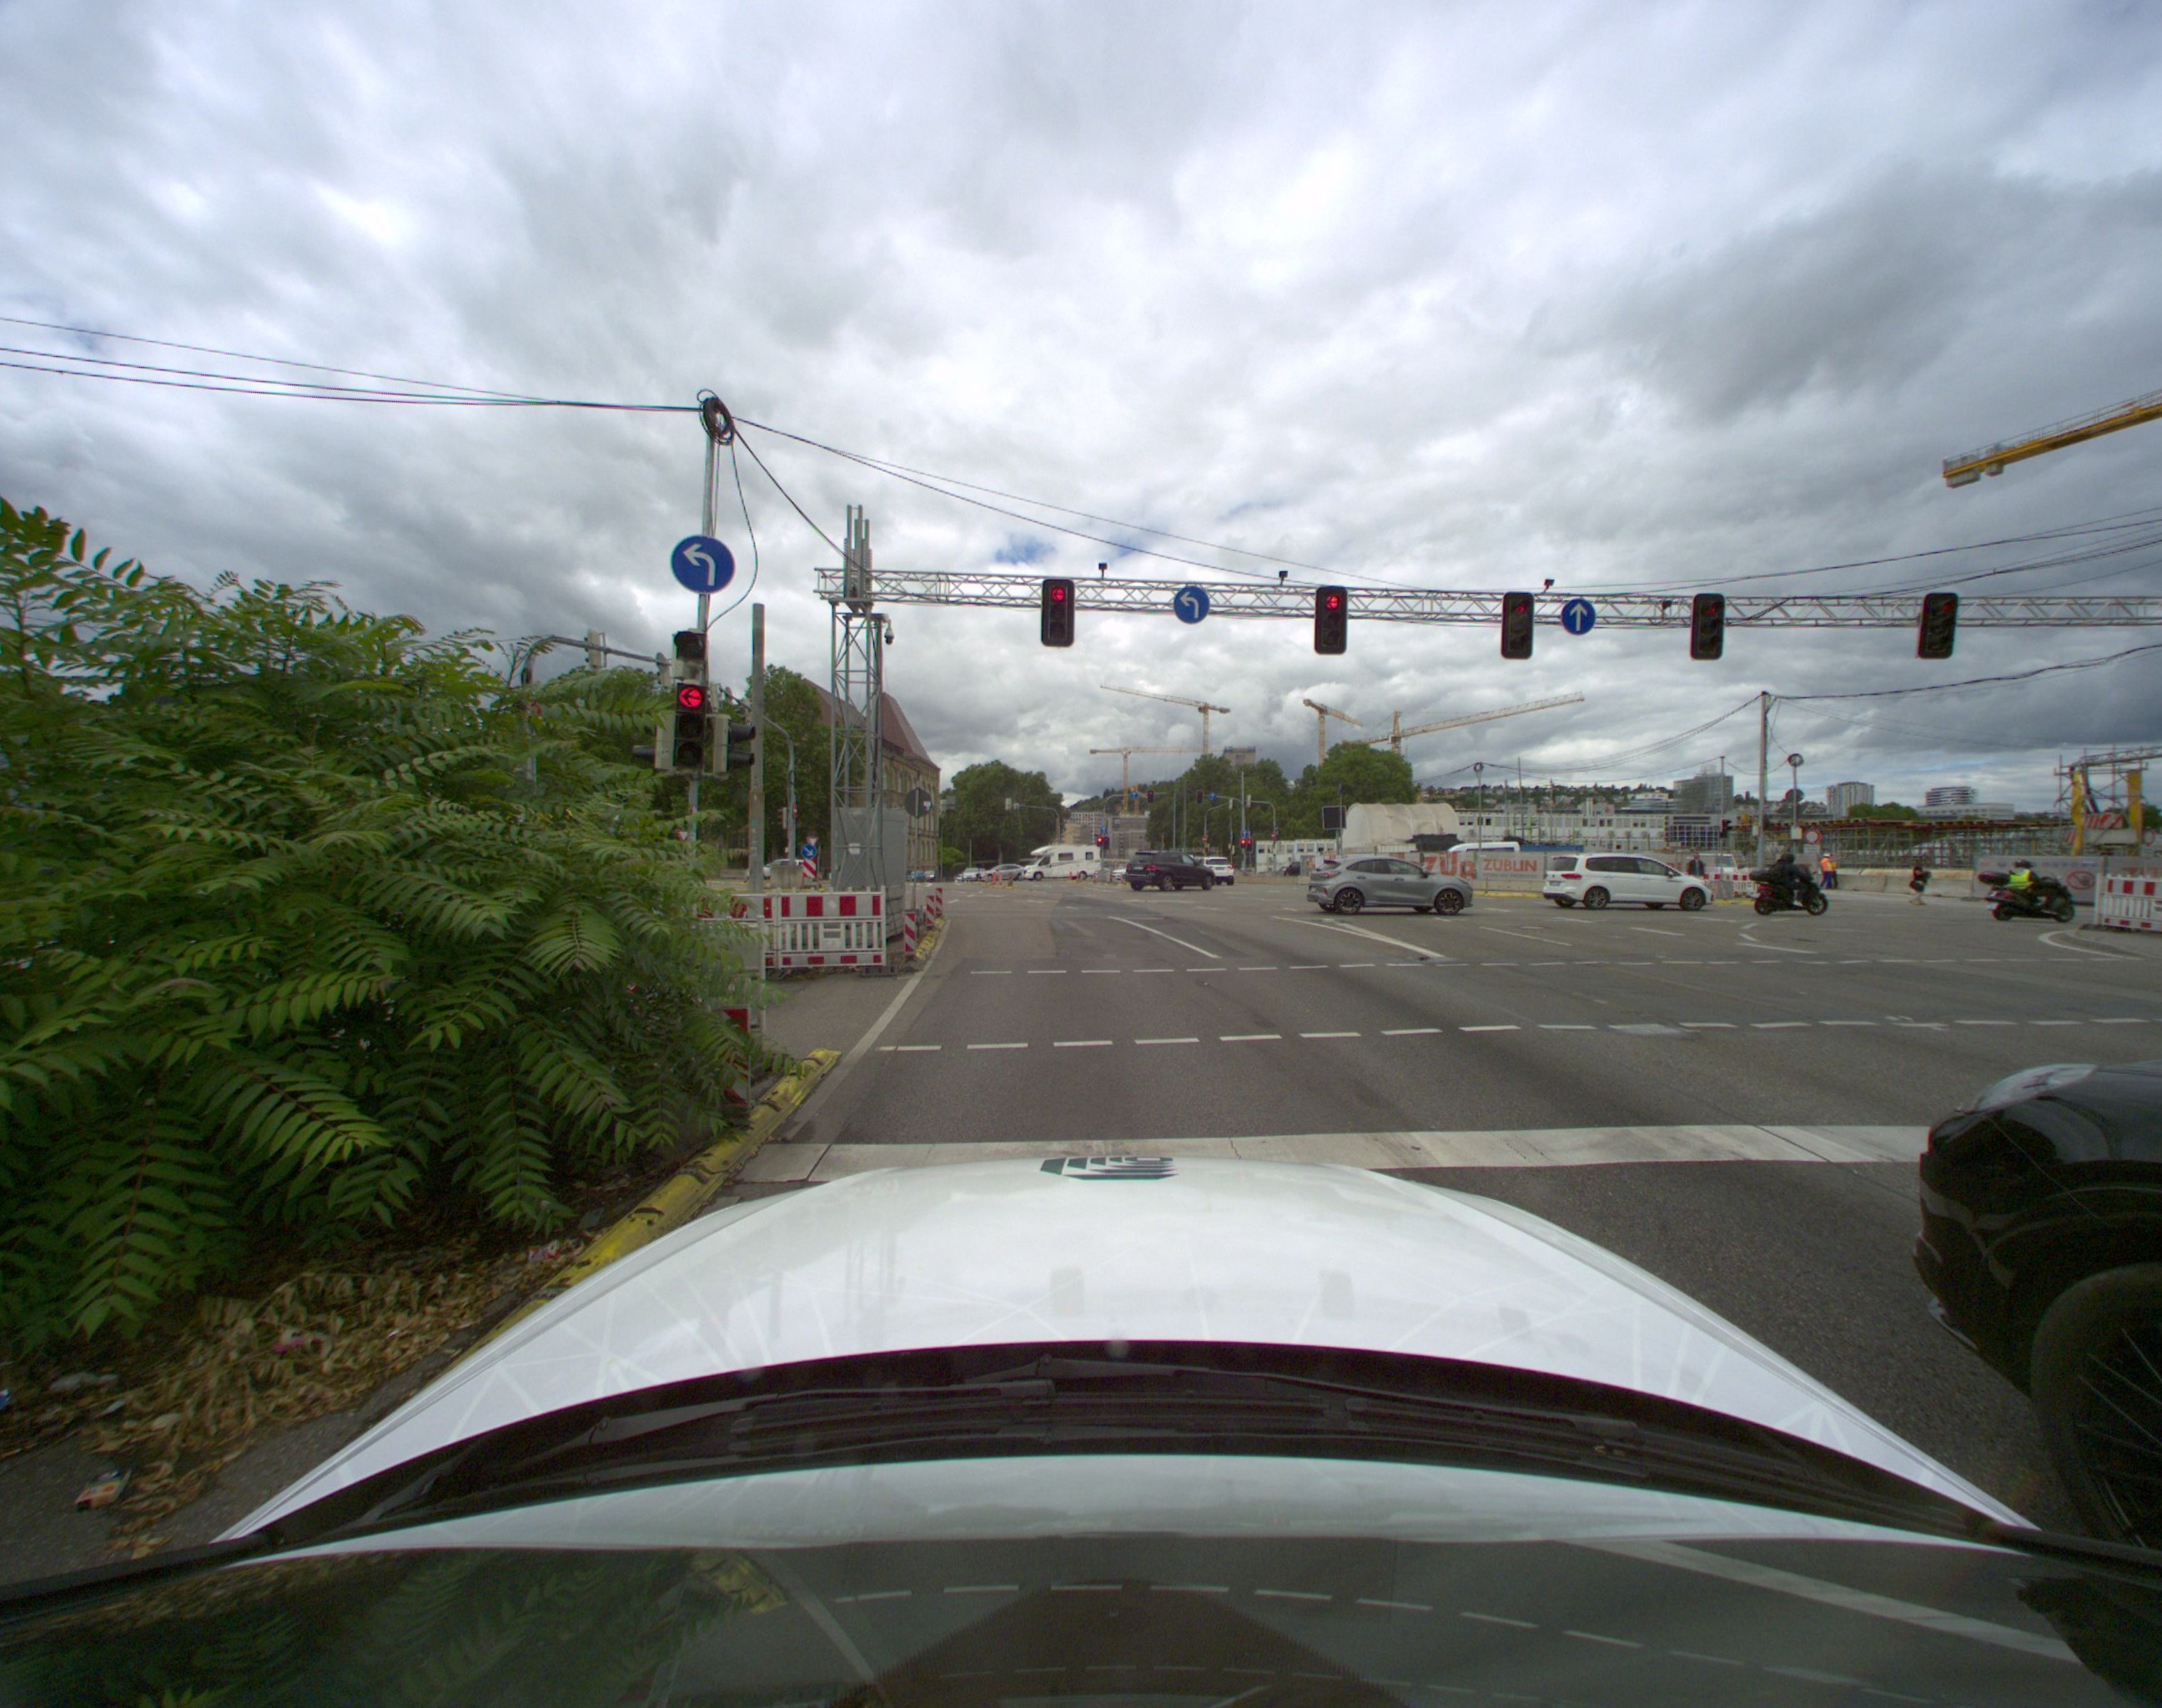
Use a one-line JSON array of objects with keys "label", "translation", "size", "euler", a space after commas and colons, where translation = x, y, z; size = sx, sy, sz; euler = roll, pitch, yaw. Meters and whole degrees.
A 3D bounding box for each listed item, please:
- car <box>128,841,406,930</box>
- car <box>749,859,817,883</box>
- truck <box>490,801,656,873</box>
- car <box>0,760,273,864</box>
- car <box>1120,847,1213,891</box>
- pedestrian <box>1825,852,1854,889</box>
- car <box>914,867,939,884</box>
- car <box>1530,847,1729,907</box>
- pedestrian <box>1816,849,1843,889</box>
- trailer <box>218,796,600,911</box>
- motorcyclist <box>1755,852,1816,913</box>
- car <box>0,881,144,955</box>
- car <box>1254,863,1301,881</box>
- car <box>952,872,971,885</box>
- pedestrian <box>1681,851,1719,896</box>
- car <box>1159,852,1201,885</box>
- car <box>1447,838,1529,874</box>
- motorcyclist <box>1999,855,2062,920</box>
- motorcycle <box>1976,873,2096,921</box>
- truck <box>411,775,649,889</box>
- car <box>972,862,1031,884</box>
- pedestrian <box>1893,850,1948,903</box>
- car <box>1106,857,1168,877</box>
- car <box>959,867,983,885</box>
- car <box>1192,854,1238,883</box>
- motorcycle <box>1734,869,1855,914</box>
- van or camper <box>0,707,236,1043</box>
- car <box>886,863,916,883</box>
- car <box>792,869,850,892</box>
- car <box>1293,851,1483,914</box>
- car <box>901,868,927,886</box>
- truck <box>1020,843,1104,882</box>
[{"label": "car", "translation": [-16.824, 0.634, 16.985], "size": [3.969, 1.740, 1.912], "euler": [0, -1, 3]}, {"label": "car", "translation": [-21.831, 1.220, 59.635], "size": [4.602, 1.724, 1.895], "euler": [0, -1, -22]}, {"label": "truck", "translation": [-36.561, -1.204, 59.044], "size": [9.719, 4.961, 3.101], "euler": [0, -1, -11]}, {"label": "car", "translation": [-17.379, -0.693, 14.755], "size": [3.964, 1.706, 1.838], "euler": [0, -1, 8]}, {"label": "car", "translation": [3.881, 0.653, 36.411], "size": [1.975, 1.834, 4.283], "euler": [-1, -1, 42]}, {"label": "pedestrian", "translation": [39.176, 0.839, 42.058], "size": [0.677, 1.916, 0.865], "euler": [0, -1, -4]}, {"label": "car", "translation": [-17.928, 2.451, 94.558], "size": [1.985, 1.838, 4.003], "euler": [0, -1, 3]}, {"label": "car", "translation": [16.359, 0.677, 24.462], "size": [4.655, 1.702, 2.000], "euler": [0, -1, 0]}, {"label": "pedestrian", "translation": [38.290, 0.745, 41.656], "size": [0.673, 2.014, 0.869], "euler": [-1, -1, 14]}, {"label": "trailer", "translation": [-16.974, -0.015, 21.014], "size": [7.328, 2.725, 2.861], "euler": [0, -1, -2]}, {"label": "motorcyclist", "translation": [18.587, 0.753, 21.499], "size": [0.875, 1.571, 0.818], "euler": [0, -1, 2]}, {"label": "car", "translation": [-30.454, 1.826, 23.763], "size": [3.971, 2.014, 2.001], "euler": [0, -1, 2]}, {"label": "car", "translation": [19.000, 1.701, 78.890], "size": [3.995, 1.684, 1.989], "euler": [0, -1, -16]}, {"label": "car", "translation": [-17.184, 3.509, 117.439], "size": [1.985, 1.838, 4.003], "euler": [0, -1, 3]}, {"label": "pedestrian", "translation": [25.651, 0.794, 33.772], "size": [1.035, 1.848, 0.794], "euler": [-1, -1, 17]}, {"label": "car", "translation": [5.821, 0.852, 48.354], "size": [1.858, 1.833, 4.719], "euler": [0, -1, -1]}, {"label": "car", "translation": [23.469, 0.122, 47.099], "size": [3.955, 2.014, 2.009], "euler": [-1, -1, 17]}, {"label": "motorcyclist", "translation": [23.721, 0.836, 20.350], "size": [0.783, 1.597, 0.652], "euler": [0, -1, 2]}, {"label": "motorcycle", "translation": [23.827, 1.061, 20.332], "size": [2.159, 1.155, 0.652], "euler": [0, -1, 2]}, {"label": "truck", "translation": [-14.067, -0.529, 21.114], "size": [4.191, 2.725, 2.862], "euler": [0, -1, 0]}, {"label": "car", "translation": [-6.689, 1.589, 68.415], "size": [4.585, 1.775, 1.985], "euler": [0, -1, -23]}, {"label": "pedestrian", "translation": [32.108, 0.856, 31.181], "size": [1.024, 2.014, 1.049], "euler": [-1, -1, 11]}, {"label": "car", "translation": [5.083, 1.154, 73.755], "size": [5.189, 1.785, 2.149], "euler": [0, -1, -21]}, {"label": "car", "translation": [-11.624, 2.337, 86.203], "size": [1.987, 1.838, 3.998], "euler": [0, -1, -1]}, {"label": "car", "translation": [8.389, 0.887, 51.458], "size": [1.989, 1.759, 4.500], "euler": [0, -1, -3]}, {"label": "motorcycle", "translation": [18.794, 0.975, 21.492], "size": [2.413, 1.155, 0.818], "euler": [0, -1, 2]}, {"label": "van or camper", "translation": [-9.707, 0.171, 6.520], "size": [2.164, 2.610, 6.031], "euler": [0, 0, -27]}, {"label": "car", "translation": [-17.282, 1.772, 78.196], "size": [1.987, 1.838, 3.998], "euler": [0, -1, -1]}, {"label": "car", "translation": [-20.253, 2.049, 63.364], "size": [4.164, 1.724, 1.895], "euler": [0, -1, -22]}, {"label": "car", "translation": [8.027, 0.725, 21.583], "size": [4.281, 1.540, 1.999], "euler": [0, -1, -1]}, {"label": "car", "translation": [-17.896, 2.393, 87.304], "size": [1.987, 1.838, 3.998], "euler": [0, -1, -1]}, {"label": "truck", "translation": [-1.562, 0.685, 67.129], "size": [6.607, 3.146, 2.350], "euler": [0, -1, -22]}]
